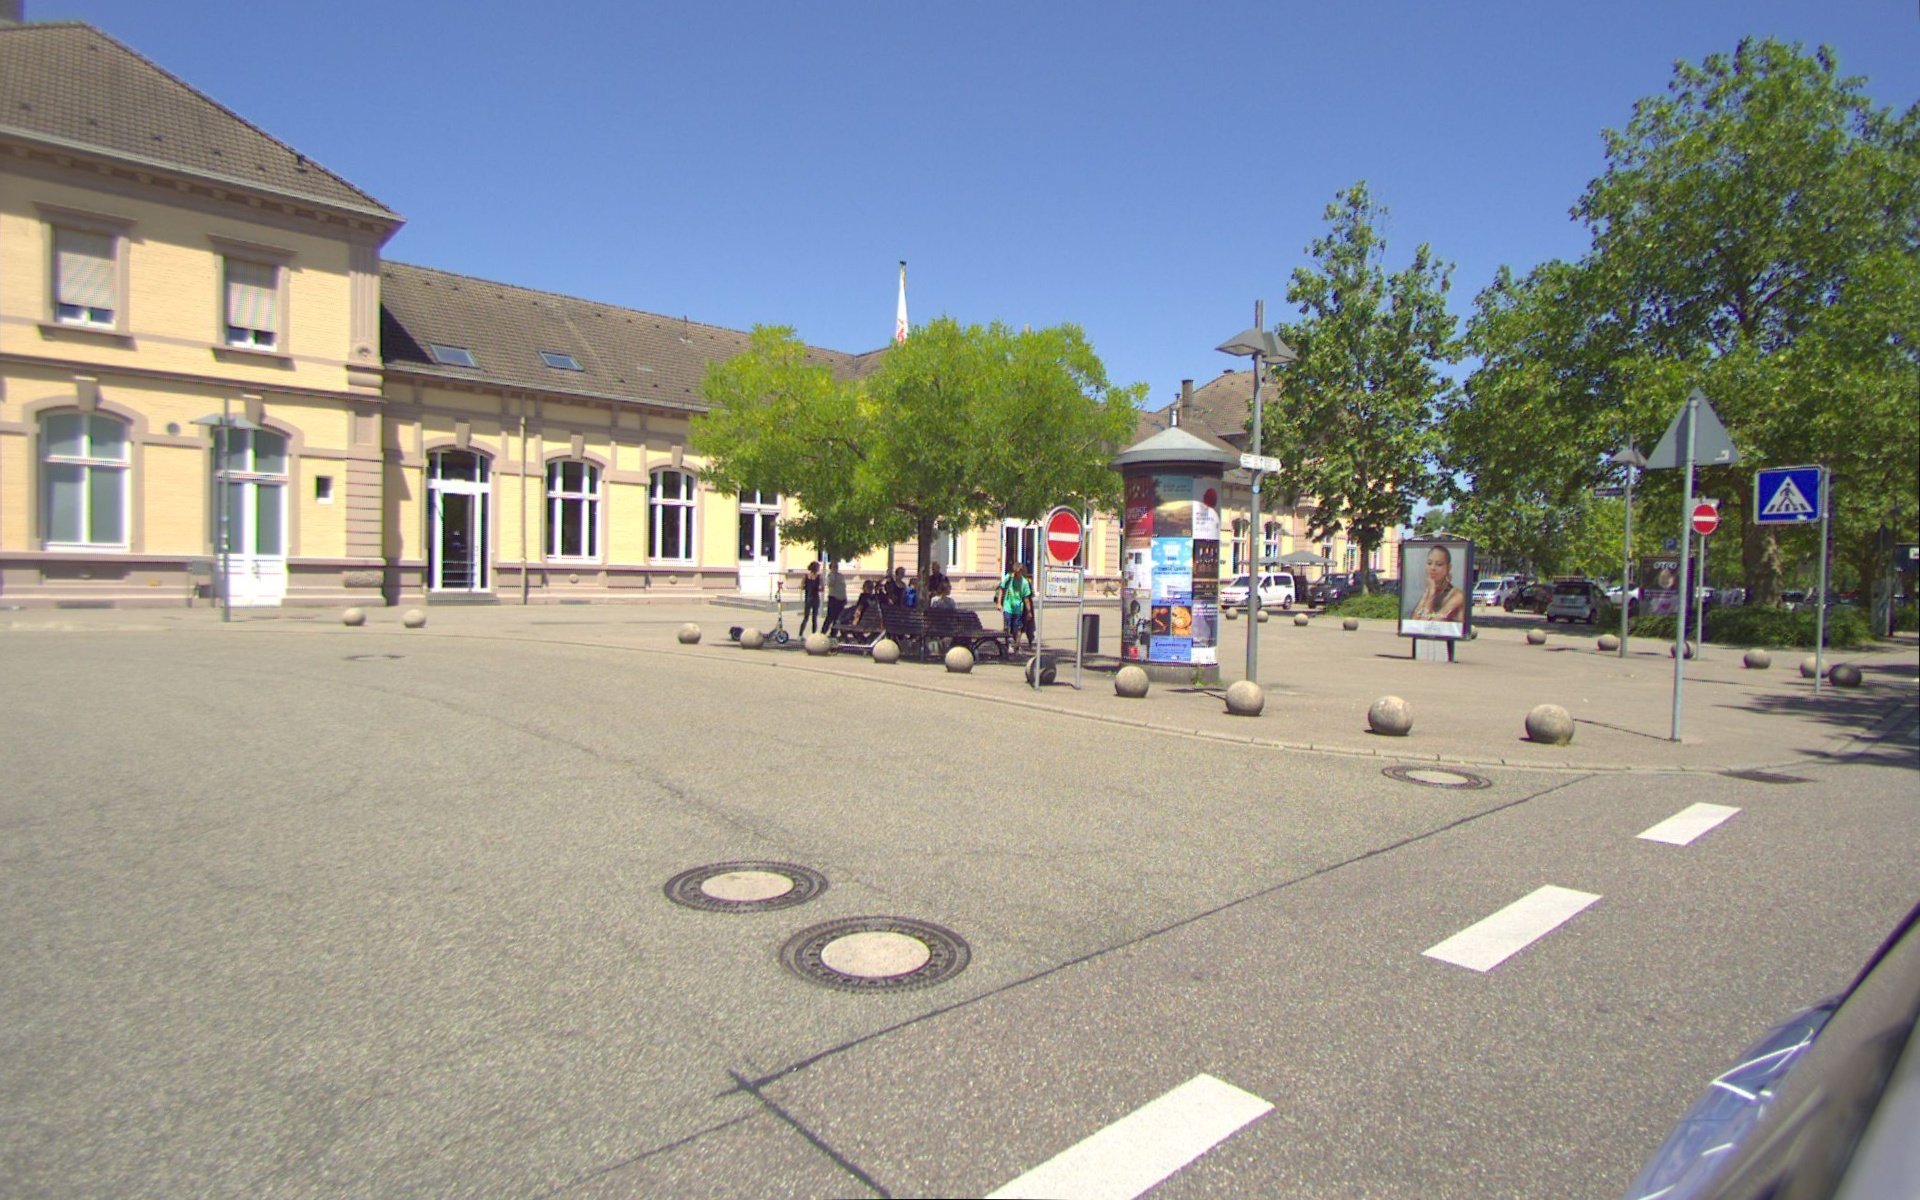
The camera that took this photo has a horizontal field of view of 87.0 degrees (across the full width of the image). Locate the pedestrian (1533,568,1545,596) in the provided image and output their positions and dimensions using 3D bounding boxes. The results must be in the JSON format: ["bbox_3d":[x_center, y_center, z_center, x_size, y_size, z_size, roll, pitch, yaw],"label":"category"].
[{"bbox_3d":[41.906,-1.311,73.241,0.627,2.015,0.607,0,0,44],"label":"pedestrian"}]

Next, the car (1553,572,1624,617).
[{"bbox_3d":[24.243,-0.240,39.008,3.054,1.613,1.598,-1,2,-43],"label":"car"}]

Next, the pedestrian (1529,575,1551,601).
[{"bbox_3d":[33.078,-0.686,57.737,0.785,1.442,0.691,1,1,-2],"label":"pedestrian"}]

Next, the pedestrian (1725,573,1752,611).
[{"bbox_3d":[36.686,-0.387,47.692,0.832,1.792,0.843,2,2,30],"label":"pedestrian"}]

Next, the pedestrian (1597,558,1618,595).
[{"bbox_3d":[27.719,-1.001,43.352,0.582,1.567,0.607,2,2,20],"label":"pedestrian"}]

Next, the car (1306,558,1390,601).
[{"bbox_3d":[20.367,-1.038,52.978,2.087,2.151,5.734,1,1,43],"label":"car"}]

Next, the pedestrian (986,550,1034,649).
[{"bbox_3d":[0.921,-0.022,18.661,0.687,1.785,0.580,2,1,27],"label":"pedestrian"}]

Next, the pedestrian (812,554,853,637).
[{"bbox_3d":[-2.669,-0.111,21.174,0.616,1.706,0.583,2,1,37],"label":"pedestrian"}]

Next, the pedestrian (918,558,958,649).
[{"bbox_3d":[-0.442,0.059,20.047,0.578,1.761,0.595,1,1,23],"label":"pedestrian"}]

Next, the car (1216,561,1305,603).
[{"bbox_3d":[14.376,-0.815,48.221,5.053,1.889,1.811,0,1,-44],"label":"car"}]

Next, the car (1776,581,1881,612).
[{"bbox_3d":[46.027,-0.211,53.726,3.830,1.478,1.625,2,2,21],"label":"car"}]

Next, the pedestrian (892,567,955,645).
[{"bbox_3d":[-0.687,0.096,19.094,0.901,1.403,0.938,1,1,19],"label":"pedestrian"}]

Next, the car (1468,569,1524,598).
[{"bbox_3d":[35.508,-1.103,66.952,1.997,1.863,5.235,0,1,43],"label":"car"}]

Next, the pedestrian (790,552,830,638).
[{"bbox_3d":[-3.029,-0.116,20.466,0.552,1.706,0.580,2,1,37],"label":"pedestrian"}]

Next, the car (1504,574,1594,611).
[{"bbox_3d":[28.263,-0.417,48.723,1.767,1.561,4.530,0,3,2],"label":"car"}]

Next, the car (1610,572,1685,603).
[{"bbox_3d":[40.403,-0.765,59.560,1.768,1.624,4.062,0,3,3],"label":"car"}]

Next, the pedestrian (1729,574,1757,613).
[{"bbox_3d":[36.192,-0.318,46.791,0.831,1.792,0.843,2,1,28],"label":"pedestrian"}]

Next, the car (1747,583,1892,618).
[{"bbox_3d":[39.081,-0.021,46.165,4.738,1.434,1.768,2,2,30],"label":"car"}]

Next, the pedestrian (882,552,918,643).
[{"bbox_3d":[-1.178,-0.060,19.887,0.505,1.761,0.567,1,1,20],"label":"pedestrian"}]

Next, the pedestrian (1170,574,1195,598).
[{"bbox_3d":[11.053,-0.698,50.329,0.879,1.176,0.838,5,3,45],"label":"pedestrian"}]

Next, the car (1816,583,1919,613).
[{"bbox_3d":[49.574,-0.146,55.328,3.830,1.478,1.625,2,2,21],"label":"car"}]

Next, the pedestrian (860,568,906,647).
[{"bbox_3d":[-1.372,0.126,18.096,0.592,1.381,0.596,2,1,21],"label":"pedestrian"}]

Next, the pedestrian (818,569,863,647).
[{"bbox_3d":[-2.181,0.139,18.491,0.592,1.381,0.596,2,1,21],"label":"pedestrian"}]

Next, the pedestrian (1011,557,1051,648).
[{"bbox_3d":[1.404,0.029,19.996,0.621,1.761,0.544,1,1,24],"label":"pedestrian"}]

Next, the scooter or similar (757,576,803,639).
[{"bbox_3d":[-3.455,0.129,19.390,1.024,1.153,0.290,2,2,42],"label":"scooter or similar"}]
